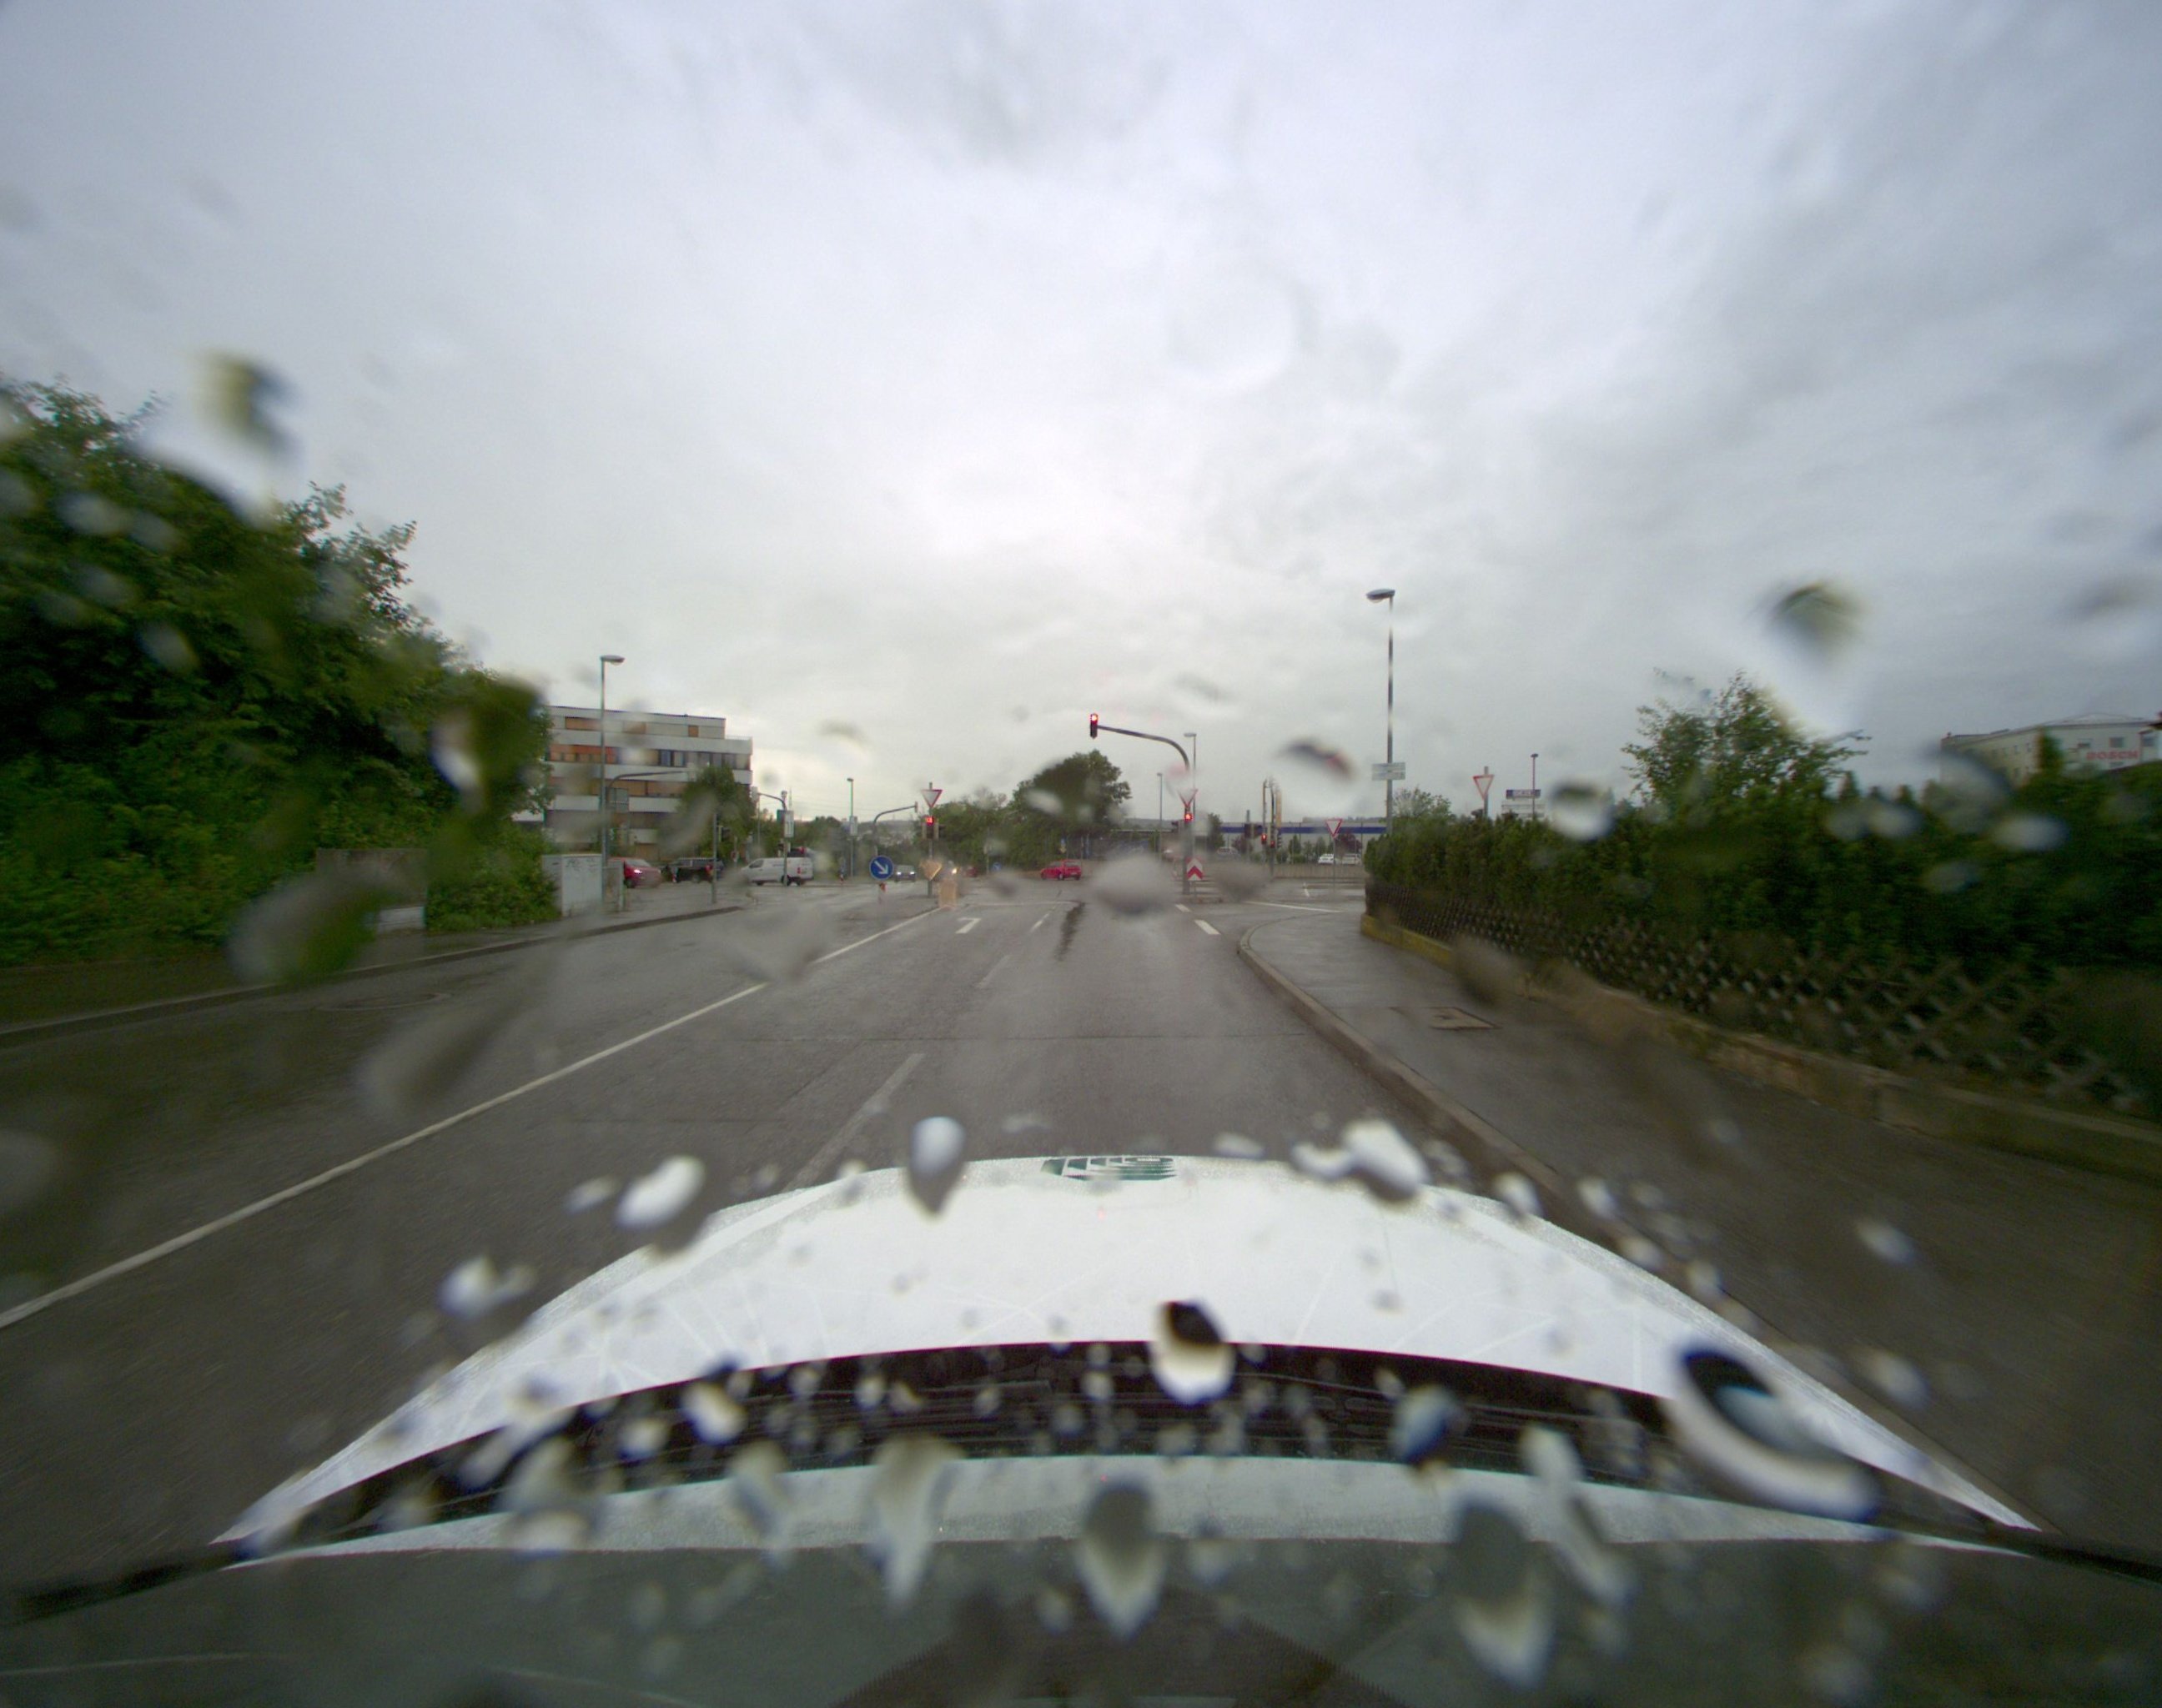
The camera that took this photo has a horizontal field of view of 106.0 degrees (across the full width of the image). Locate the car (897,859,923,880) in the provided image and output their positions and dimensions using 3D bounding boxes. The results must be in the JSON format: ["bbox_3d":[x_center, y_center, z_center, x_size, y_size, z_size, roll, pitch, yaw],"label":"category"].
[{"bbox_3d":[-15.263,1.401,72.665,1.997,1.895,3.978,0,-2,-16],"label":"car"}]

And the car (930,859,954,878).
[{"bbox_3d":[-12.298,1.271,71.927,1.995,1.618,3.983,0,0,-12],"label":"car"}]

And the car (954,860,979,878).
[{"bbox_3d":[-13.125,1.742,93.087,2.000,1.907,3.974,1,0,-19],"label":"car"}]

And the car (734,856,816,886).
[{"bbox_3d":[-21.073,1.142,56.089,4.962,2.014,2.007,0,0,12],"label":"car"}]

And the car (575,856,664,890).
[{"bbox_3d":[-27.880,1.151,49.238,4.732,2.014,2.010,-1,-1,19],"label":"car"}]

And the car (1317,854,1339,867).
[{"bbox_3d":[27.691,0.738,91.388,1.976,1.478,4.022,0,0,22],"label":"car"}]

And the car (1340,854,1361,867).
[{"bbox_3d":[29.990,0.735,90.683,1.976,1.478,4.021,0,0,22],"label":"car"}]

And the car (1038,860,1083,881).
[{"bbox_3d":[-1.590,1.213,62.059,1.627,1.448,3.766,1,1,-36],"label":"car"}]

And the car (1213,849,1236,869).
[{"bbox_3d":[14.299,0.500,81.231,1.979,2.014,4.015,0,0,14],"label":"car"}]
